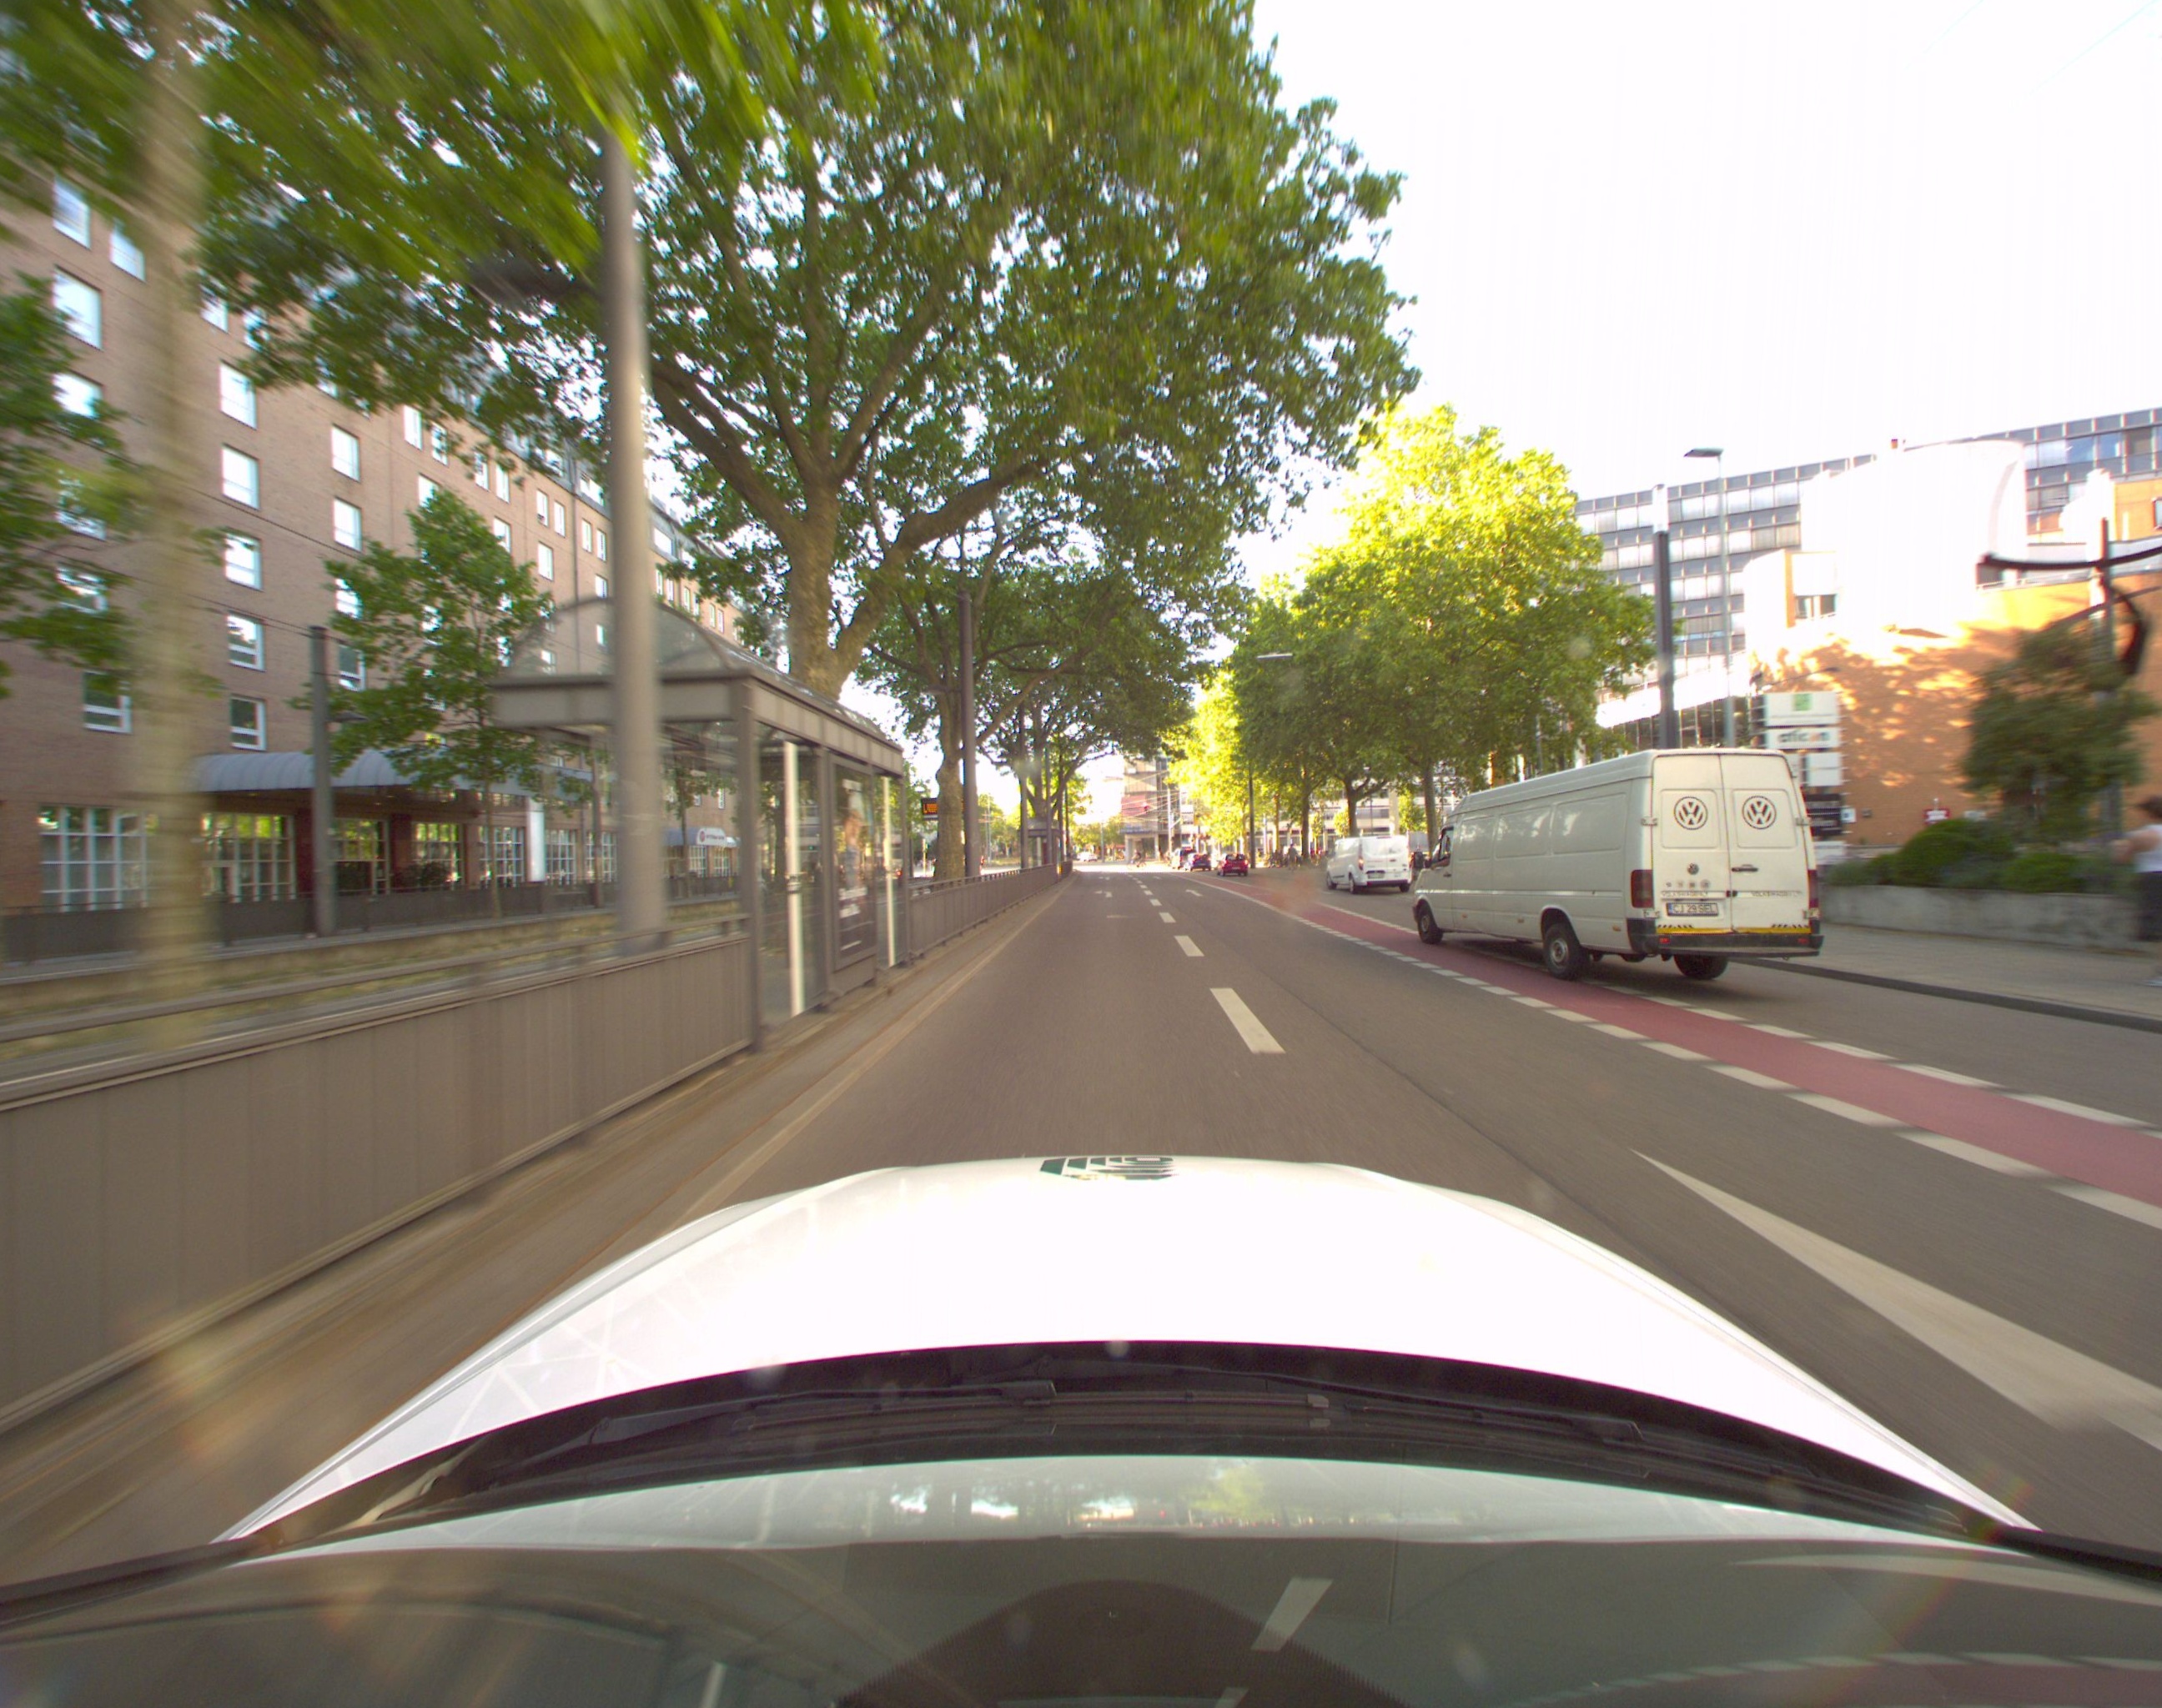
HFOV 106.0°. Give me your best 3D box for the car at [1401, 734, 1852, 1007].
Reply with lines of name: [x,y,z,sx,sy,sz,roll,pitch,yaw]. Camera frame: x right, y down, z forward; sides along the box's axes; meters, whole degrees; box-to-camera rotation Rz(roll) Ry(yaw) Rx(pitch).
car: [6.740,0.161,11.427,1.987,2.724,6.561,0,0,0]

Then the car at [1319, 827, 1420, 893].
car: [10.479,0.206,30.018,2.113,2.134,5.295,-2,0,4]

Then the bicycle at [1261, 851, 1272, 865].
bicycle: [15.283,0.328,67.253,0.625,1.057,1.574,-2,0,5]

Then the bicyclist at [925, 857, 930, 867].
bicyclist: [-25.821,1.393,137.007,0.593,1.675,0.787,-2,0,-8]

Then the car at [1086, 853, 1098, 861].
car: [2.095,0.583,154.901,1.988,1.332,3.997,-2,0,-2]

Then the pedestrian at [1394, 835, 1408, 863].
pedestrian: [22.078,-0.327,56.184,0.634,1.888,0.721,-2,0,1]

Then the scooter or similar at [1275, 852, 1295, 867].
scooter or similar: [16.088,0.409,64.185,1.255,1.142,0.911,2,-3,-15]

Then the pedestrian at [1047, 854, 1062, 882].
pedestrian: [-1.352,0.719,41.810,0.731,1.387,0.641,0,-1,3]

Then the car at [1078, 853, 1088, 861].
car: [0.369,0.624,177.237,1.988,1.662,3.997,-2,0,-2]

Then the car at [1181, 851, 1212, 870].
car: [9.552,0.509,67.481,1.760,1.464,4.213,-2,0,-2]

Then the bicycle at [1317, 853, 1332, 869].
bicycle: [15.250,0.445,51.101,0.449,0.980,1.763,-2,0,2]

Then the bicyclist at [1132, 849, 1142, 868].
bicyclist: [5.381,0.385,78.222,0.847,1.785,0.752,-2,0,-3]

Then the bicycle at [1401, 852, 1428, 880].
bicycle: [14.315,0.483,34.992,0.658,1.137,2.409,-2,0,13]

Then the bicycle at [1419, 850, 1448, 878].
bicycle: [15.108,0.430,34.929,0.658,1.137,2.409,-2,0,13]

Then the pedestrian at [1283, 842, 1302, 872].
pedestrian: [12.949,0.182,49.832,0.869,1.786,0.808,-2,0,-1]

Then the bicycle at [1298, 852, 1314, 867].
bicycle: [15.872,0.392,57.384,0.594,1.031,1.654,-2,0,-2]

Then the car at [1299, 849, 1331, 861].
car: [34.241,0.142,119.089,4.221,1.560,1.798,-2,0,4]

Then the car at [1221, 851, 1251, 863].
car: [22.888,0.501,120.371,4.219,1.602,1.799,-2,0,6]

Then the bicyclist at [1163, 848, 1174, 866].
bicyclist: [8.566,0.274,79.632,0.847,1.767,0.752,-2,0,-3]

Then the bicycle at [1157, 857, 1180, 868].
bicycle: [8.578,0.841,79.618,2.172,0.933,0.667,-2,0,-3]

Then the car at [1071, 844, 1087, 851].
car: [-0.489,-1.671,213.740,3.735,1.750,1.788,0,-1,13]

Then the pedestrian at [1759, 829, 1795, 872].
pedestrian: [24.383,-0.115,28.522,0.708,1.456,0.601,-2,0,1]

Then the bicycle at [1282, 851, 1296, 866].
bicycle: [15.882,0.336,62.222,0.590,1.116,1.837,-2,0,26]

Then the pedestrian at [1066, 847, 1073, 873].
pedestrian: [-0.885,0.442,61.163,0.508,1.900,0.759,0,-1,0]

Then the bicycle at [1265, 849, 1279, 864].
bicycle: [14.853,0.182,63.265,0.590,1.116,1.837,-2,0,26]

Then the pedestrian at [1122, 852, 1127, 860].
pedestrian: [7.794,0.358,146.082,0.737,1.465,0.536,-2,0,-3]

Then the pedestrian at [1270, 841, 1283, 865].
pedestrian: [15.104,-0.056,62.828,0.799,1.786,0.661,-2,0,25]

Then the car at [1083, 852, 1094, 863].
car: [1.381,0.730,161.707,1.988,1.991,3.997,-2,0,-2]

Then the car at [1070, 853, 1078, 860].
car: [-1.729,0.640,198.750,1.988,1.662,3.997,-2,0,-2]

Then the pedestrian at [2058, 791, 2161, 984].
pedestrian: [10.414,0.303,7.966,0.561,1.808,0.892,-3,0,2]

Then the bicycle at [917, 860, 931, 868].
bicycle: [-25.236,1.591,130.715,2.106,1.239,0.448,-2,0,-37]

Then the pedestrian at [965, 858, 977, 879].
pedestrian: [-10.011,1.319,74.000,1.071,1.806,0.755,-1,-1,-9]

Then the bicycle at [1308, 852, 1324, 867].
bicycle: [16.569,0.383,57.424,0.594,1.031,1.654,-2,0,-2]

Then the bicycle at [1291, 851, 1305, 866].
bicycle: [16.514,0.354,61.966,0.601,1.116,1.837,-2,0,26]

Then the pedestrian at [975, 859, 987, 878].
pedestrian: [-9.394,1.358,76.826,1.071,1.715,0.627,-1,-1,-5]

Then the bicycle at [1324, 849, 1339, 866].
bicycle: [17.668,0.252,57.514,0.500,1.137,1.654,-2,0,-1]

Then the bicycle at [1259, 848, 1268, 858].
bicycle: [17.702,-0.077,79.162,0.449,0.983,1.475,-2,0,-3]

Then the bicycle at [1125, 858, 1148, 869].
bicycle: [5.306,0.913,78.202,2.172,0.933,0.667,-2,0,-3]

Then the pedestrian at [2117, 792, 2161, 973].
pedestrian: [11.035,0.274,7.970,0.588,1.808,0.896,-3,0,2]

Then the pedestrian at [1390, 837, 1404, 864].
pedestrian: [22.111,-0.241,56.965,0.634,1.888,0.721,-2,0,1]

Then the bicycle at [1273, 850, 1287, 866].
bicycle: [15.272,0.295,62.496,0.590,1.116,1.961,-2,0,26]

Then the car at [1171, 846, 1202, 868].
car: [9.549,0.242,74.096,1.988,1.966,5.135,0,0,-1]

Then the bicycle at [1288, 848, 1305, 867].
bicycle: [15.174,0.234,57.338,0.594,1.264,1.875,-2,0,-1]

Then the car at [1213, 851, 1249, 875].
car: [9.716,0.572,52.984,1.554,1.464,3.619,-1,0,-2]
